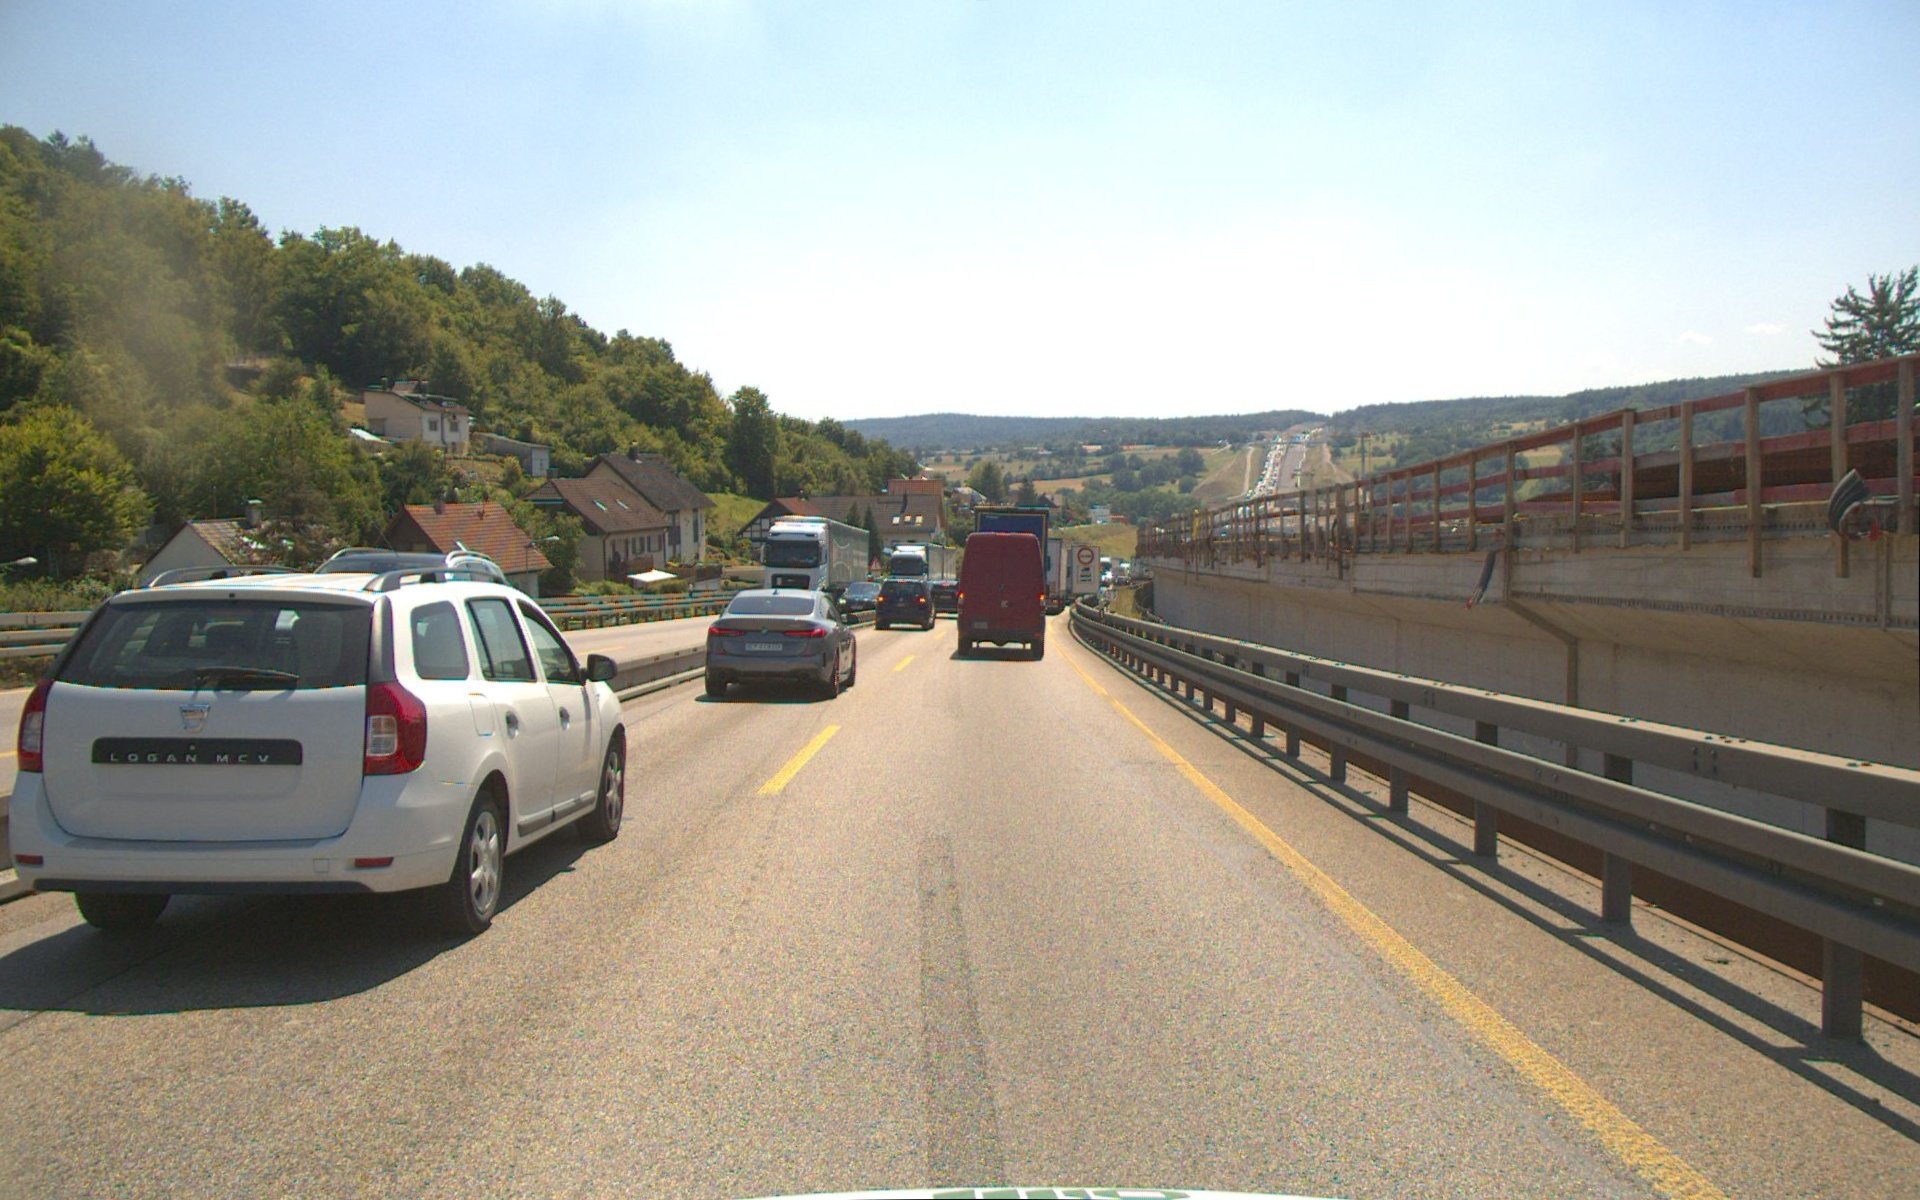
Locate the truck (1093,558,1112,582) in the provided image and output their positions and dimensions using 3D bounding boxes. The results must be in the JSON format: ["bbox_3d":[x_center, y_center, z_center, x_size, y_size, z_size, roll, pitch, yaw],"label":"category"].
[{"bbox_3d":[10.223,-2.143,118.503,1.286,1.569,3.153,1,0,4],"label":"truck"}]

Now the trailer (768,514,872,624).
[{"bbox_3d":[-6.669,-1.333,81.395,3.000,4.900,14.007,1,0,4],"label":"trailer"}]

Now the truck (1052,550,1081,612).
[{"bbox_3d":[7.931,-1.370,122.857,1.951,4.458,4.002,1,-1,5],"label":"truck"}]

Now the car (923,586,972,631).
[{"bbox_3d":[-0.529,0.367,72.901,1.692,1.870,4.003,1,0,6],"label":"car"}]

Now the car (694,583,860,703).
[{"bbox_3d":[-2.458,0.536,23.131,1.757,1.511,4.050,1,0,1],"label":"car"}]

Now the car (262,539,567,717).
[{"bbox_3d":[-5.998,0.260,18.845,1.872,1.735,4.736,1,0,0],"label":"car"}]

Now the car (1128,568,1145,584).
[{"bbox_3d":[23.870,-3.260,223.791,2.086,2.049,4.003,1,0,8],"label":"car"}]

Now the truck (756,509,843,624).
[{"bbox_3d":[-7.122,-1.428,73.890,2.996,4.906,4.647,1,-1,4],"label":"truck"}]

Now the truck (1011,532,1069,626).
[{"bbox_3d":[4.341,-1.056,91.426,2.729,4.900,9.684,1,0,0],"label":"truck"}]

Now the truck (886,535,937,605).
[{"bbox_3d":[-3.376,-2.060,115.488,2.786,4.660,5.791,1,-1,5],"label":"truck"}]

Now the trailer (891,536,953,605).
[{"bbox_3d":[-2.663,-2.027,122.348,2.774,4.723,14.590,1,0,6],"label":"trailer"}]

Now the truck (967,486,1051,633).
[{"bbox_3d":[1.691,-1.338,60.624,2.729,4.900,9.684,1,0,0],"label":"truck"}]

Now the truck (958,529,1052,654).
[{"bbox_3d":[1.015,-0.169,37.261,1.952,2.624,4.001,1,-1,2],"label":"truck"}]

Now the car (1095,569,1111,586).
[{"bbox_3d":[18.319,-2.863,212.288,1.765,2.049,4.003,2,1,8],"label":"car"}]

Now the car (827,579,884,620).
[{"bbox_3d":[-4.406,0.004,70.328,1.952,1.668,4.854,1,0,1],"label":"car"}]

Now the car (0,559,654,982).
[{"bbox_3d":[-2.756,0.628,8.156,1.617,1.509,4.267,-1,0,1],"label":"car"}]

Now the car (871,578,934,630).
[{"bbox_3d":[-1.878,0.141,54.940,1.772,1.636,3.720,1,0,2],"label":"car"}]
